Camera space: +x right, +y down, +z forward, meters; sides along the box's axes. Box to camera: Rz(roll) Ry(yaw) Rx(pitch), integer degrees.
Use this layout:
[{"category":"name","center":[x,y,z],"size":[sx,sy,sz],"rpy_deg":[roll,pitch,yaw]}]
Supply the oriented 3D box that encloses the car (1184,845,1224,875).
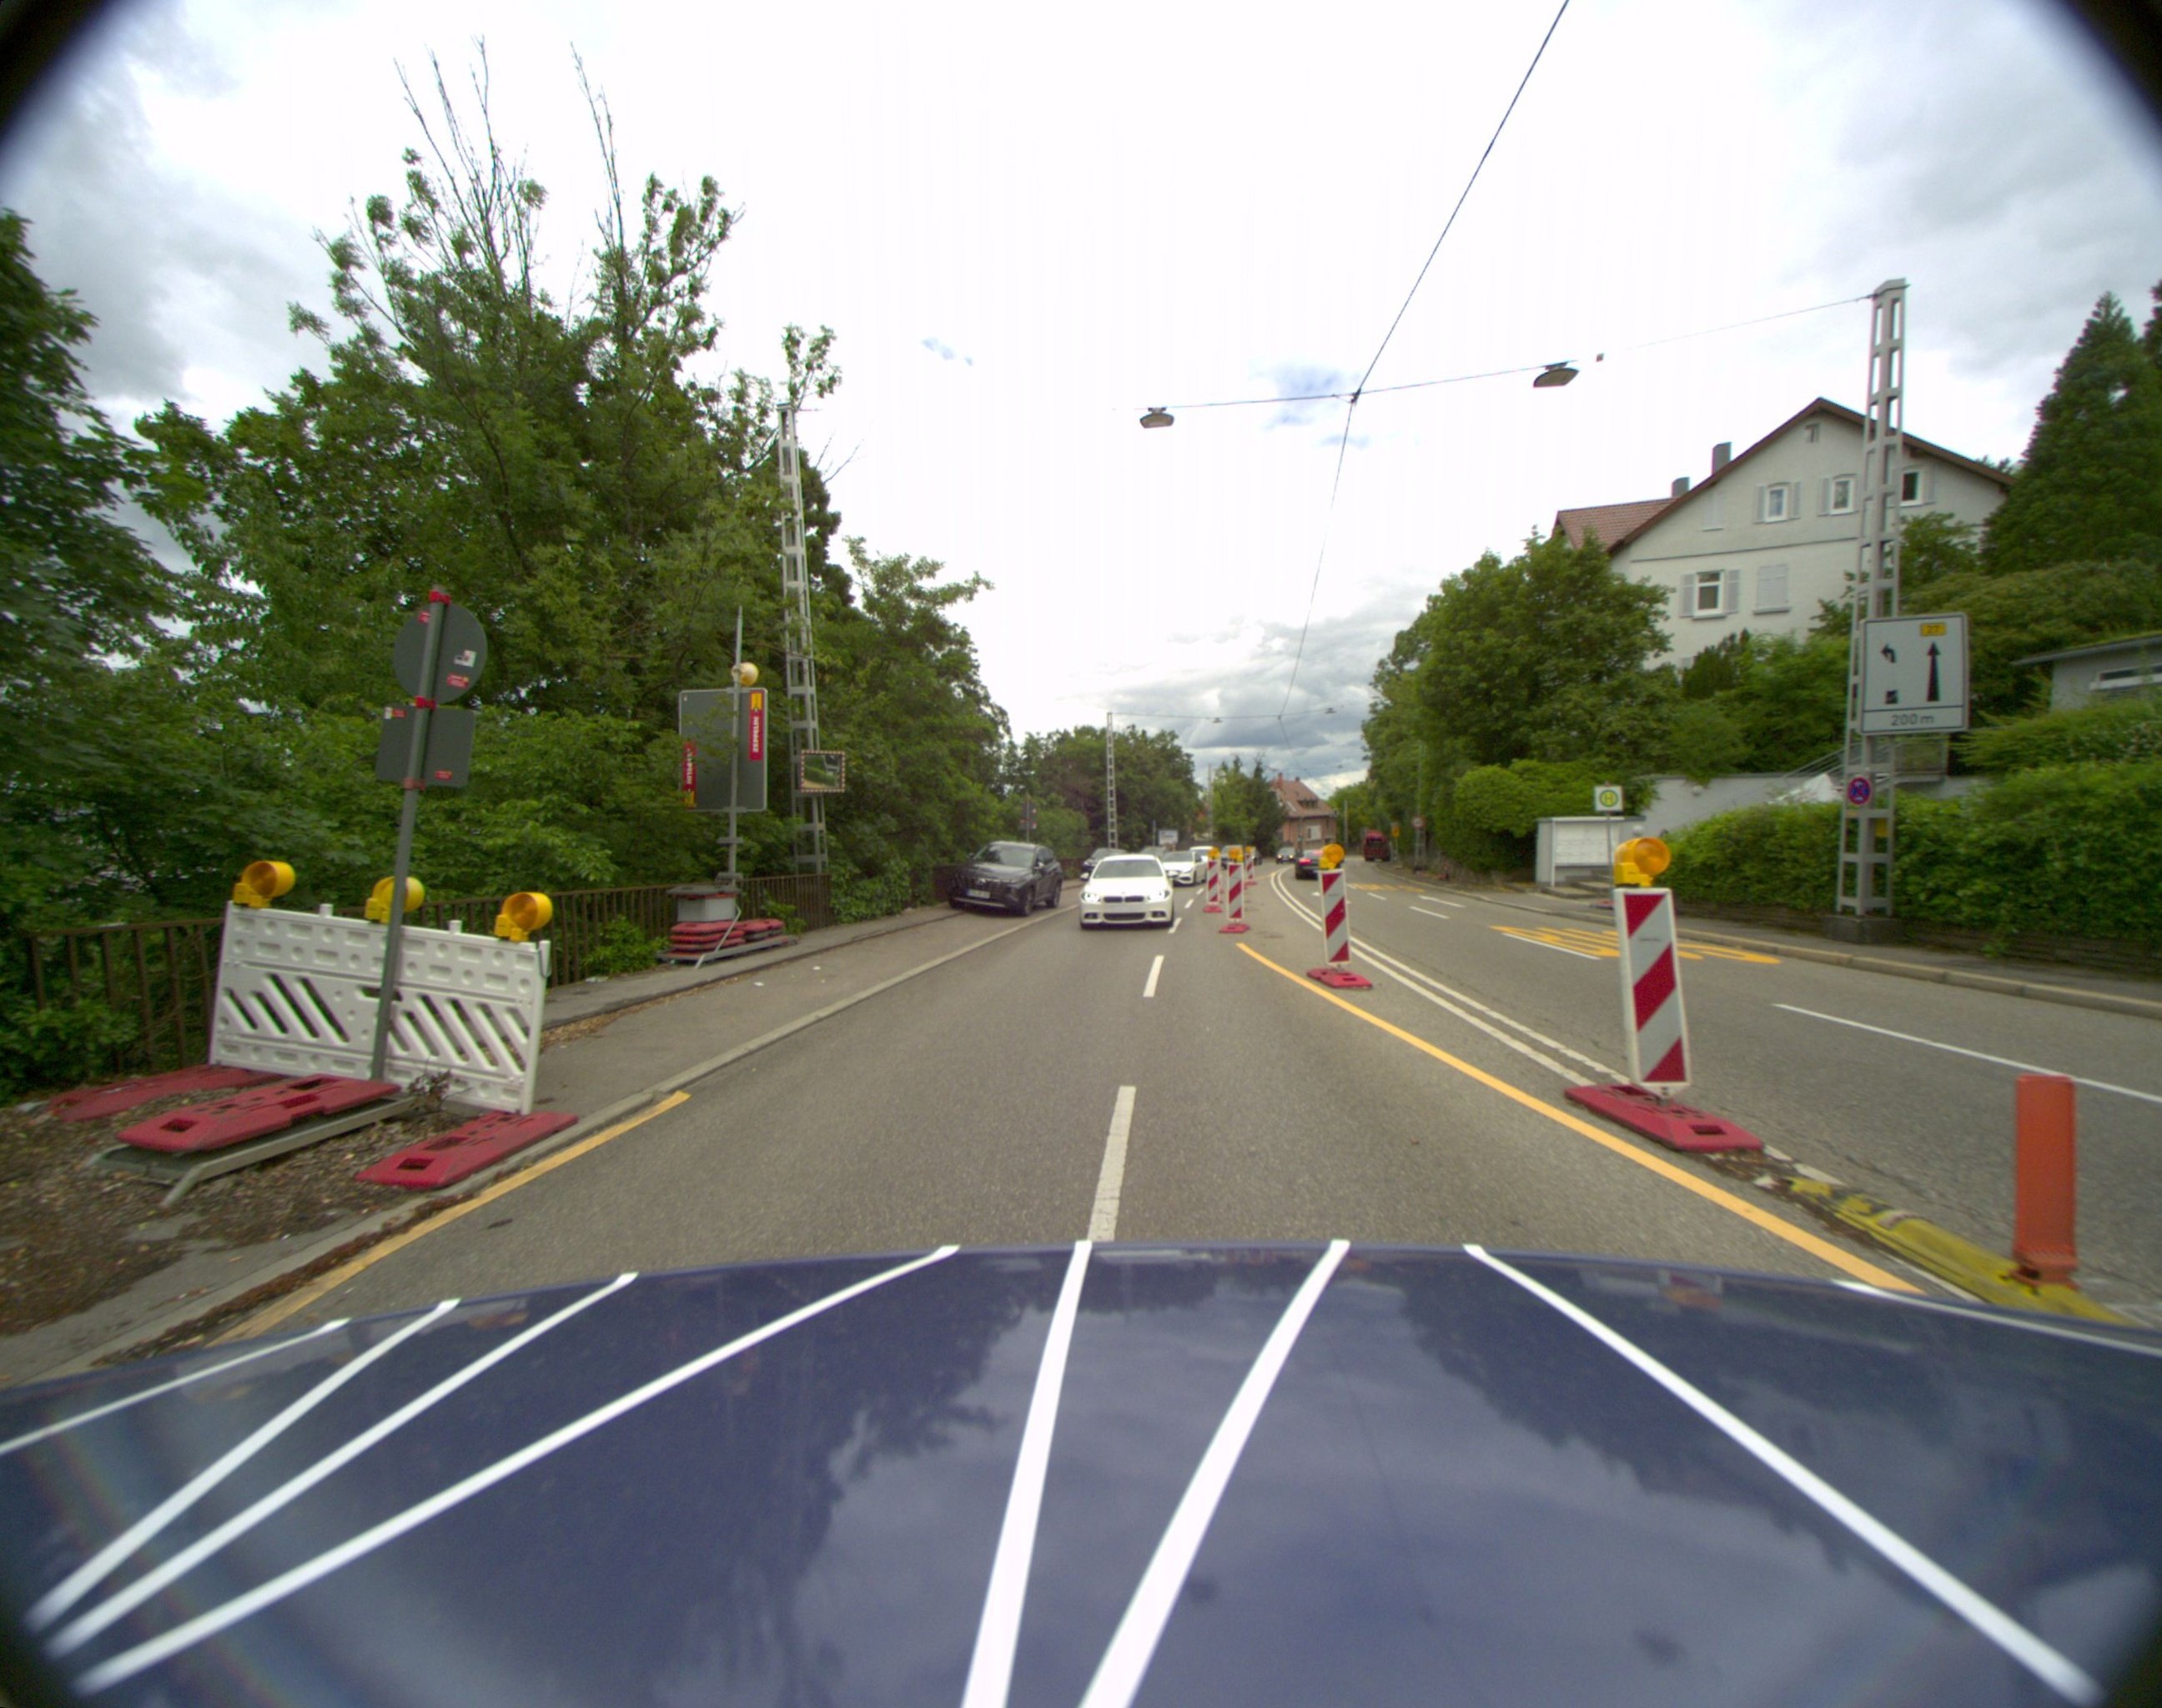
[{"category":"car","center":[6.859,0.321,42.168],"size":[1.790,1.542,4.249],"rpy_deg":[-1,0,14]}]

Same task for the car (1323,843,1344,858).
[{"category":"car","center":[24.373,-0.357,73.209],"size":[1.715,1.453,4.006],"rpy_deg":[1,1,21]}]

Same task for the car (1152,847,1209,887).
[{"category":"car","center":[4.260,0.506,31.901],"size":[1.790,1.472,4.248],"rpy_deg":[-1,2,15]}]

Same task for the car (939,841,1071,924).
[{"category":"car","center":[-1.705,0.588,18.714],"size":[1.856,1.664,4.283],"rpy_deg":[5,2,13]}]

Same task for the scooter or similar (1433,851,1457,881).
[{"category":"scooter or similar","center":[15.391,0.480,32.151],"size":[0.429,1.202,1.282],"rpy_deg":[-3,1,4]}]

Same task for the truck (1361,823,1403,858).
[{"category":"truck","center":[34.715,-1.515,87.368],"size":[2.861,3.677,9.676],"rpy_deg":[3,2,31]}]

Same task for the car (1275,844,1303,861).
[{"category":"car","center":[18.826,-0.172,68.581],"size":[1.789,1.472,4.251],"rpy_deg":[-1,0,24]}]

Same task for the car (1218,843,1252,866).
[{"category":"car","center":[10.600,-0.028,52.065],"size":[1.796,1.502,4.005],"rpy_deg":[1,1,18]}]

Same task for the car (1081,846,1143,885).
[{"category":"car","center":[1.431,0.426,32.998],"size":[1.856,1.428,4.236],"rpy_deg":[5,2,13]}]

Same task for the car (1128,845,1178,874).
[{"category":"car","center":[4.201,0.278,43.688],"size":[1.855,1.525,4.237],"rpy_deg":[3,2,19]}]

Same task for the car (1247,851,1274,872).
[{"category":"car","center":[14.361,0.560,60.719],"size":[1.796,1.502,4.004],"rpy_deg":[-1,1,17]}]

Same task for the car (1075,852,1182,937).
[{"category":"car","center":[1.160,0.763,16.308],"size":[1.790,1.472,4.247],"rpy_deg":[-1,1,10]}]

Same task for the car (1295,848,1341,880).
[{"category":"car","center":[11.152,0.409,35.971],"size":[1.823,1.383,4.442],"rpy_deg":[1,1,14]}]
